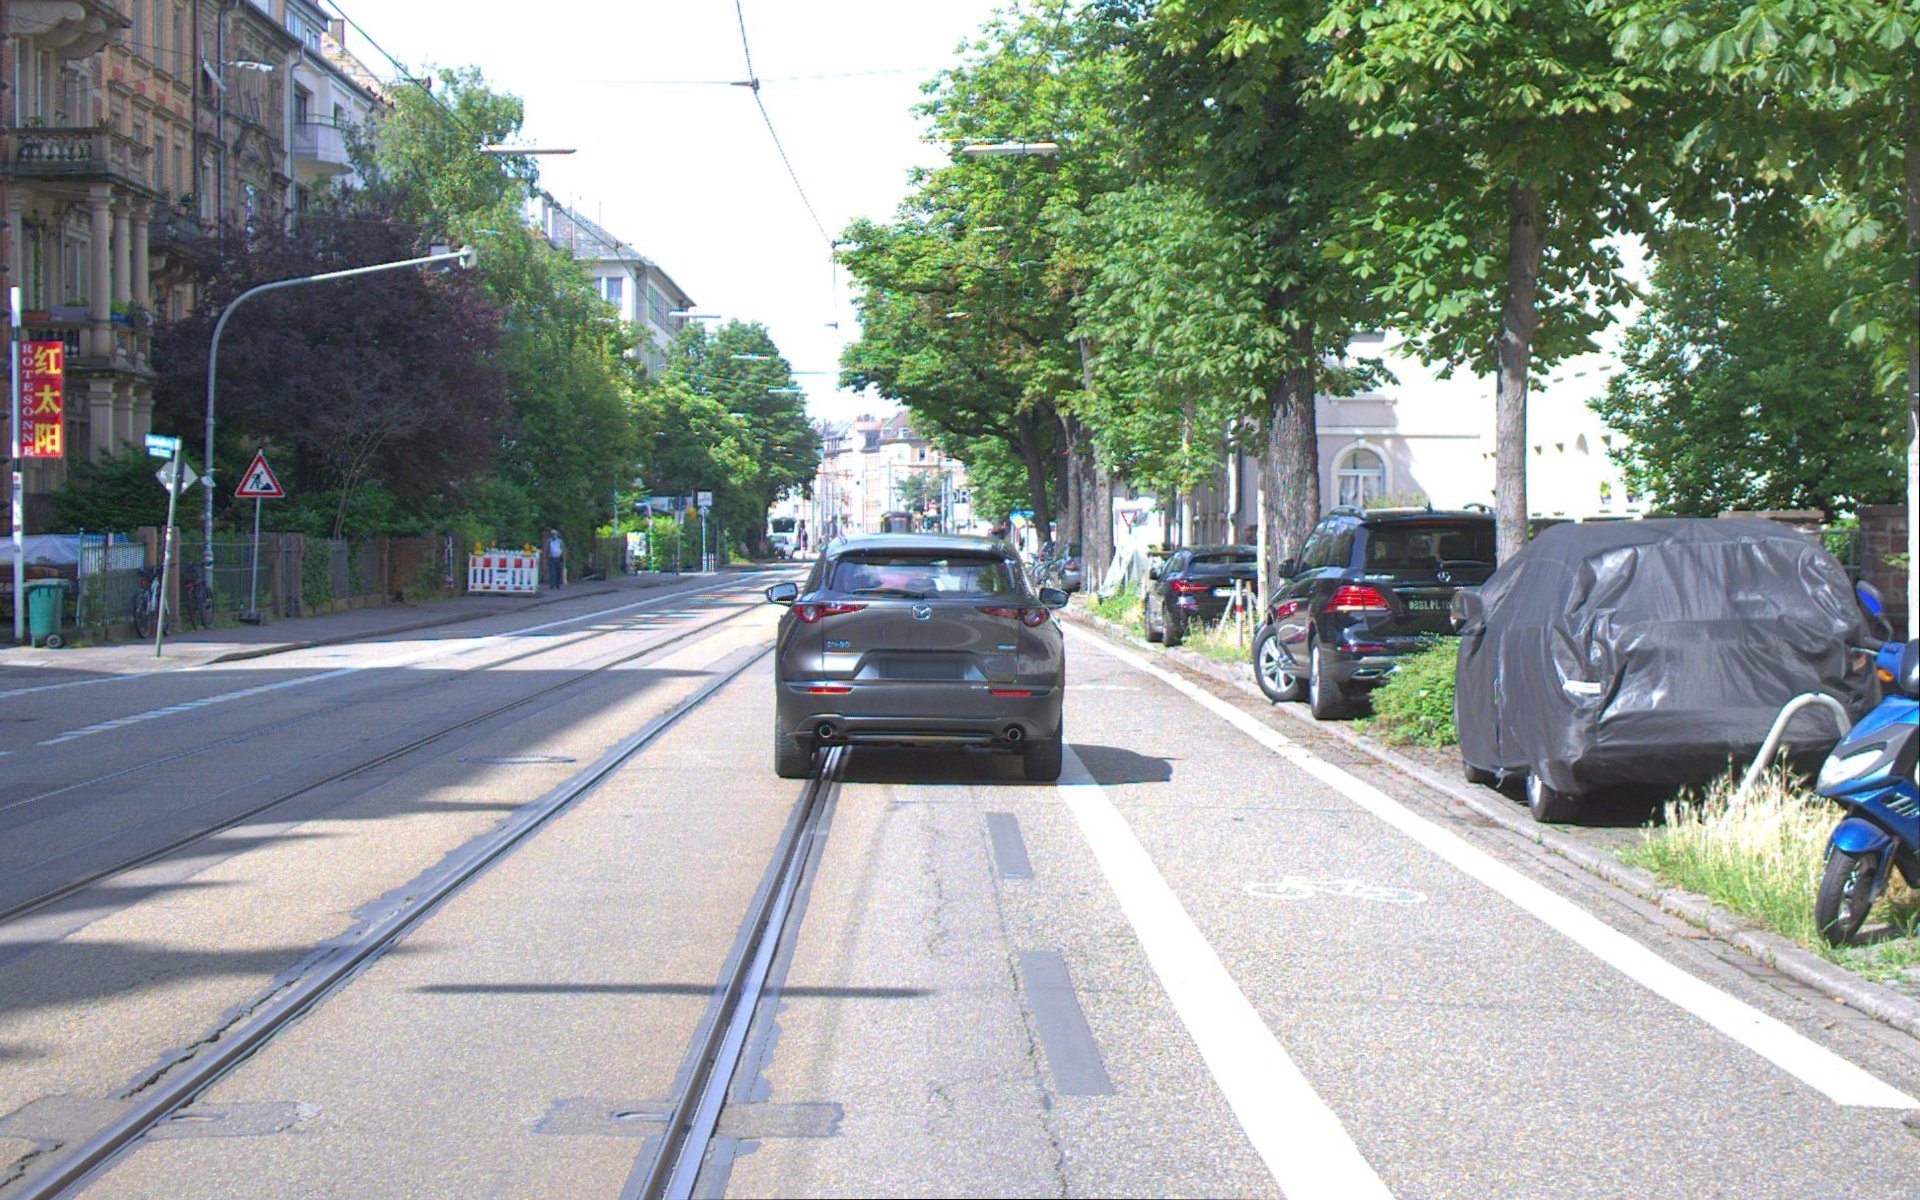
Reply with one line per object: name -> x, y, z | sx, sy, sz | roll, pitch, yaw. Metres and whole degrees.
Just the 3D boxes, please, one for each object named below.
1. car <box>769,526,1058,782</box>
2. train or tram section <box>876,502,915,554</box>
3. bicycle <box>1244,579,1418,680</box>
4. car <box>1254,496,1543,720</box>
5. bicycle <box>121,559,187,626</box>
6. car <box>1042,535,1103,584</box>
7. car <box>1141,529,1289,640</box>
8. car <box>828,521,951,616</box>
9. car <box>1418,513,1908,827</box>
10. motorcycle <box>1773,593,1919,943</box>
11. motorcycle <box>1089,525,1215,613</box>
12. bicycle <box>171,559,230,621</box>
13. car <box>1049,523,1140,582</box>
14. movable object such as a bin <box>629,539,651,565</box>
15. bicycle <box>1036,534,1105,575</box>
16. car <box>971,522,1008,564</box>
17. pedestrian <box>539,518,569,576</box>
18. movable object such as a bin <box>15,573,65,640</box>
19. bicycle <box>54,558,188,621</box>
car -> -0.306, 0.289, 22.265 | 1.720, 1.521, 3.590 | 0, 1, -1
train or tram section -> -4.858, -5.355, 256.044 | 2.571, 3.759, 13.028 | 0, 1, -2
bicycle -> 3.792, 0.299, 35.187 | 1.708, 1.003, 0.638 | 0, 1, 0
car -> 3.710, 0.000, 29.838 | 1.827, 1.776, 4.733 | 0, 2, -1
bicycle -> -11.950, -0.120, 51.020 | 0.530, 0.943, 1.968 | 0, 1, -1
car -> 3.411, -1.240, 104.734 | 1.666, 1.425, 3.766 | -2, 1, 0
car -> 3.630, -0.252, 49.576 | 1.706, 1.474, 4.197 | 2, 1, -1
car -> -1.209, -0.562, 59.361 | 1.993, 1.523, 4.000 | 2, 1, -1
car -> 3.995, 0.319, 20.336 | 1.862, 1.647, 4.638 | 0, 1, -1
motorcycle -> 4.334, 0.647, 13.675 | 2.006, 1.332, 0.747 | 0, 1, -4
motorcycle -> 3.640, -0.600, 65.314 | 2.385, 1.592, 0.677 | 3, 3, 38
bicycle -> -12.094, -0.171, 54.797 | 0.530, 0.943, 1.968 | 0, 1, -1
car -> 3.415, -1.225, 88.022 | 1.846, 1.404, 4.395 | -2, 1, -4
movable object such as a bin -> -12.646, -1.894, 135.823 | 0.745, 0.984, 1.114 | 2, 1, -1
bicycle -> 3.244, -1.325, 100.974 | 1.938, 1.172, 0.513 | -1, 0, 11
car -> 1.398, -2.715, 163.842 | 1.720, 1.962, 4.207 | 0, 1, 0
pedestrian -> -11.948, -1.553, 101.084 | 0.822, 1.700, 0.891 | 0, 1, -4
movable object such as a bin -> -12.514, 0.084, 46.775 | 0.525, 0.902, 0.636 | 0, 1, -2
bicycle -> -13.021, -0.166, 53.404 | 1.961, 0.943, 0.532 | 0, 1, -5
